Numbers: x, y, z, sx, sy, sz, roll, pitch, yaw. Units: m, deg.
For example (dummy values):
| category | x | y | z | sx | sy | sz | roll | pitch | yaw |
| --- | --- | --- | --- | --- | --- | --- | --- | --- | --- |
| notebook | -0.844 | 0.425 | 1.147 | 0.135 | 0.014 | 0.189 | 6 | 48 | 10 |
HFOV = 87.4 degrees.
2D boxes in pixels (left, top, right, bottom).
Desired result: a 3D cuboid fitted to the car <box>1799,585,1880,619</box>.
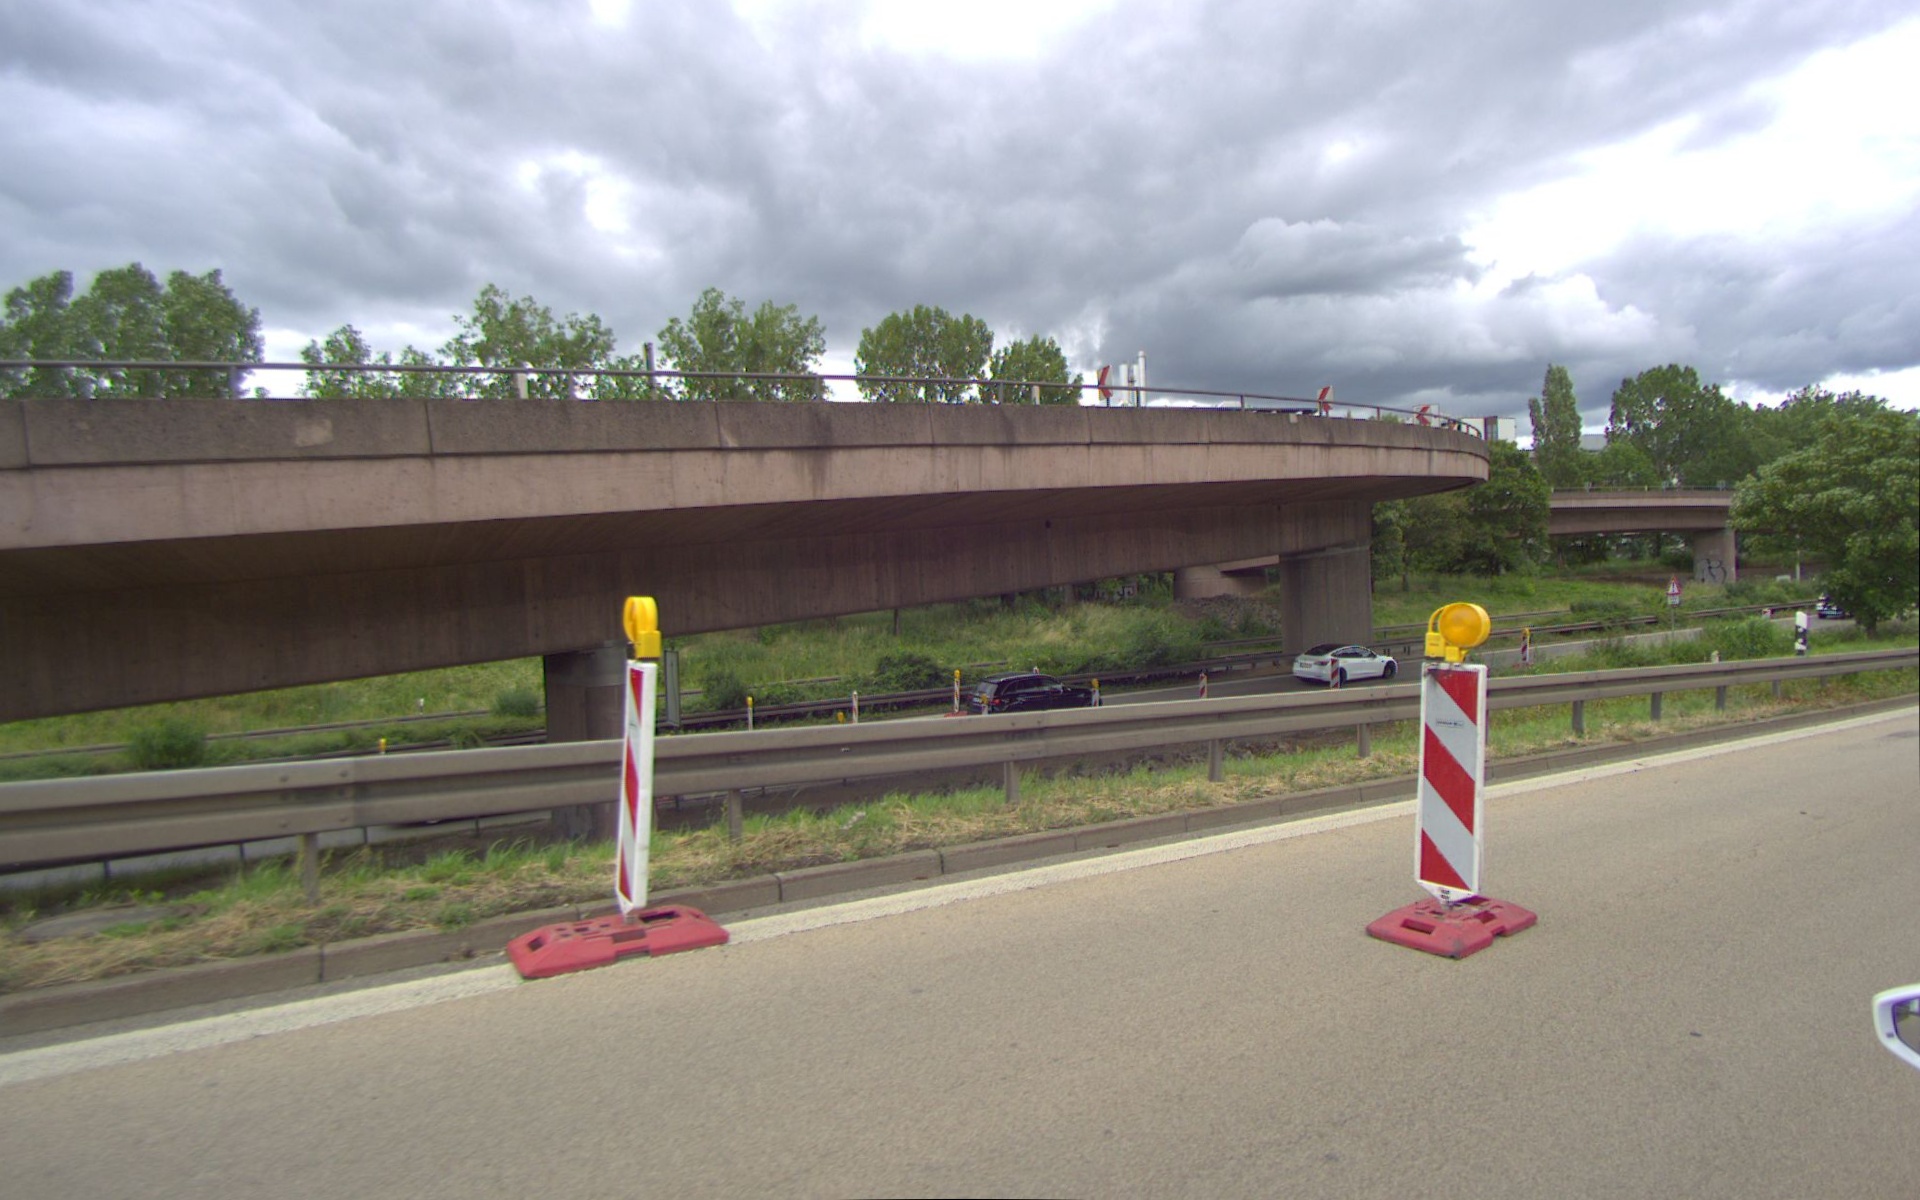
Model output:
| category | x | y | z | sx | sy | sz | roll | pitch | yaw |
| --- | --- | --- | --- | --- | --- | --- | --- | --- | --- |
| car | 49.460 | 0.094 | 56.488 | 4.044 | 1.736 | 1.988 | -3 | 2 | -25 |

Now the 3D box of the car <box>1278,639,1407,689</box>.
| category | x | y | z | sx | sy | sz | roll | pitch | yaw |
| --- | --- | --- | --- | --- | --- | --- | --- | --- | --- |
| car | 14.931 | 2.464 | 39.175 | 4.735 | 1.475 | 1.988 | -3 | 2 | -25 |

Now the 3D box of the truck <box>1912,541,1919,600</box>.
| category | x | y | z | sx | sy | sz | roll | pitch | yaw |
| --- | --- | --- | --- | --- | --- | --- | --- | --- | --- |
| truck | 63.649 | -1.996 | 63.447 | 7.303 | 3.705 | 3.038 | -3 | 2 | -29 |

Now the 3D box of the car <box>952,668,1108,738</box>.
| category | x | y | z | sx | sy | sz | roll | pitch | yaw |
| --- | --- | --- | --- | --- | --- | --- | --- | --- | --- |
| car | 2.243 | 3.211 | 31.932 | 4.515 | 1.637 | 2.031 | -3 | 2 | -25 |
